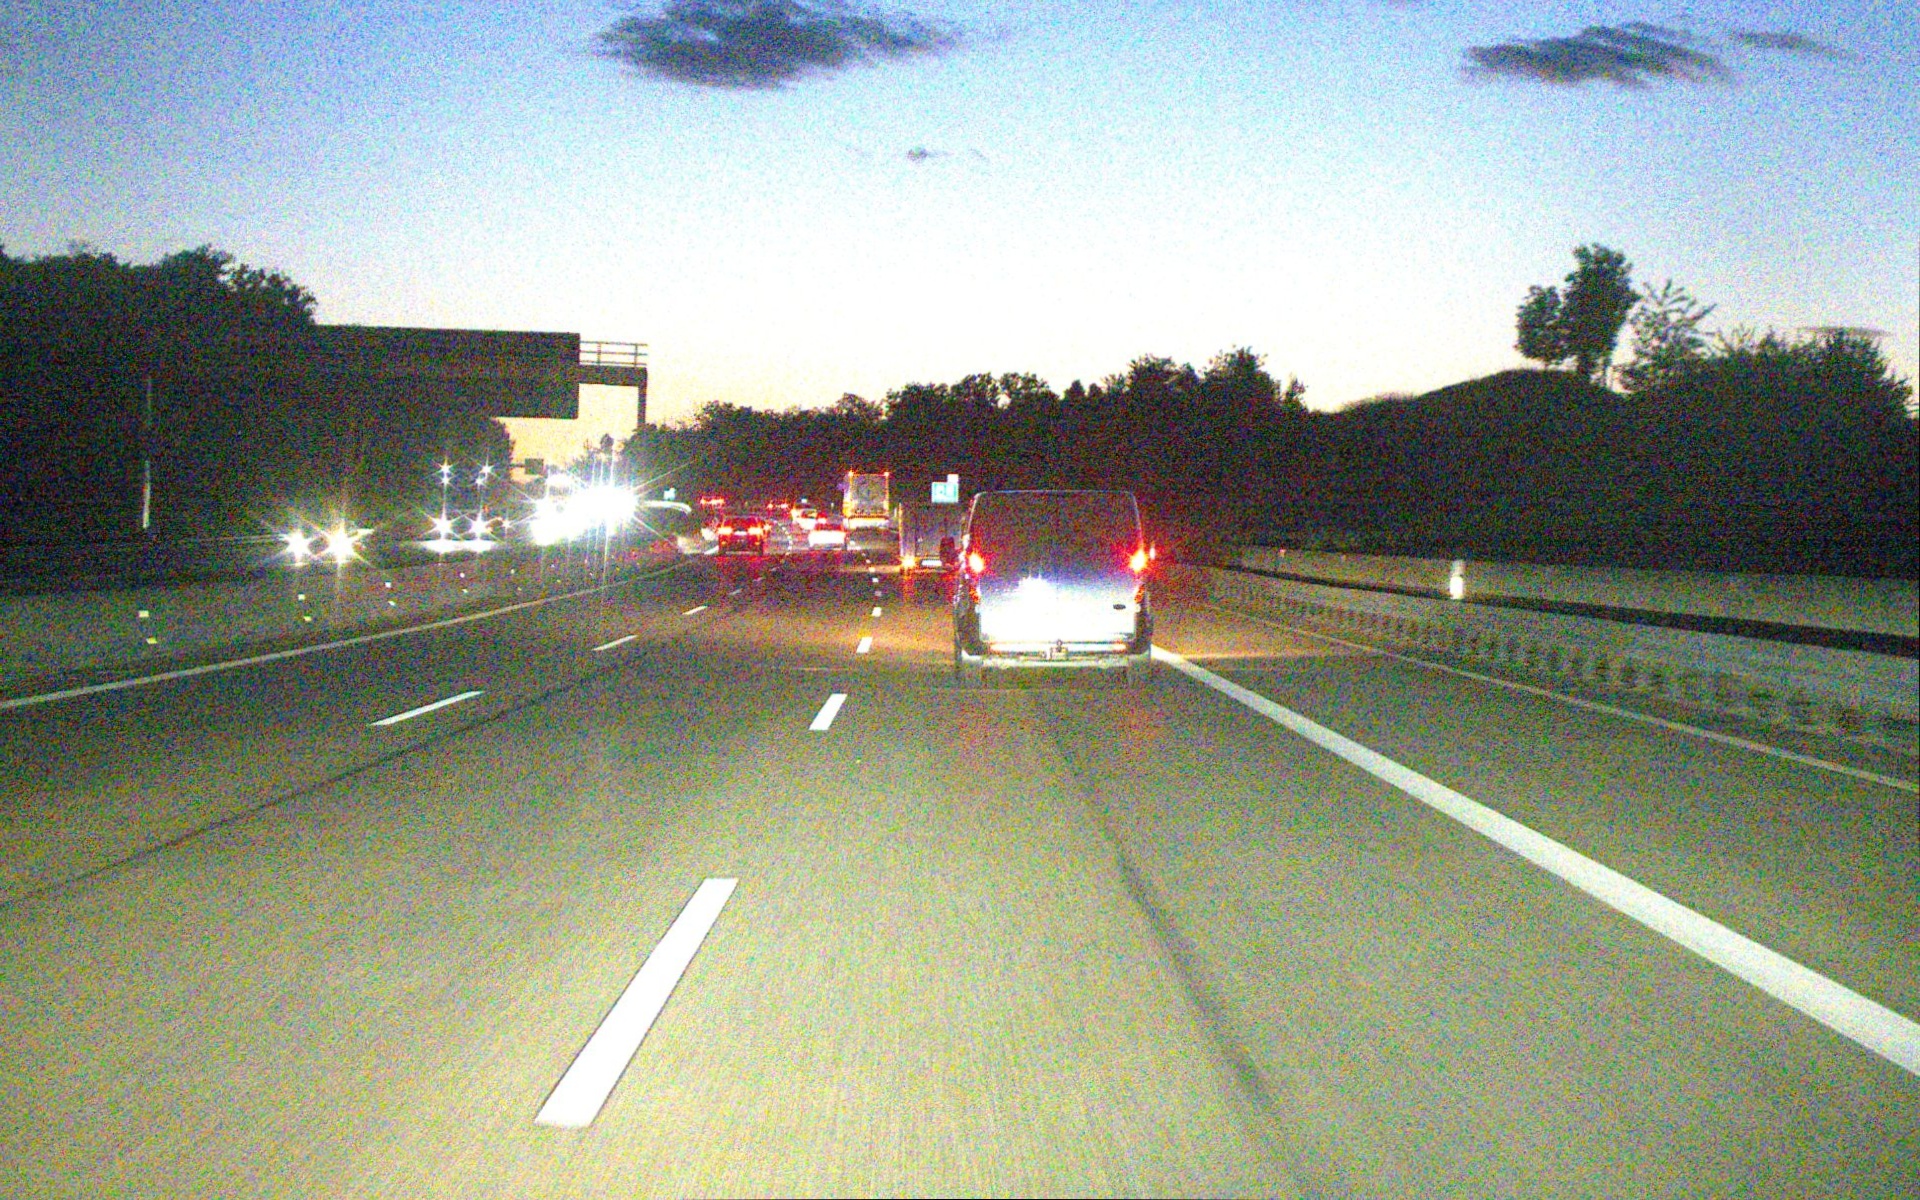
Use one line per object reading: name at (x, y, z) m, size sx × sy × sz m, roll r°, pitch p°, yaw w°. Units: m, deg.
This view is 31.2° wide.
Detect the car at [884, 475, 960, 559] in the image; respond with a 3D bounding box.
car at (-1.268, -2.709, 111.427) m, size 2.032 × 2.637 × 5.726 m, roll 0°, pitch 2°, yaw -5°

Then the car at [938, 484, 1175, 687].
car at (0.929, -0.220, 36.547) m, size 2.115 × 1.994 × 5.665 m, roll 0°, pitch 2°, yaw -2°

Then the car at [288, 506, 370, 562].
car at (-19.877, -2.075, 108.426) m, size 1.822 × 1.688 × 4.673 m, roll 0°, pitch 0°, yaw -1°

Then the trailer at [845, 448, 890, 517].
trailer at (-6.474, -8.084, 239.289) m, size 2.829 × 4.242 × 17.050 m, roll 0°, pitch 0°, yaw -2°

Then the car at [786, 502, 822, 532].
car at (-9.960, -5.272, 219.246) m, size 1.993 × 1.788 × 4.001 m, roll 0°, pitch 0°, yaw -6°

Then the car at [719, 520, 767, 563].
car at (-9.393, -2.513, 148.902) m, size 1.993 × 1.809 × 4.000 m, roll 0°, pitch 0°, yaw -3°

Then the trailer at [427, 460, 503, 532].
trailer at (-27.620, -5.790, 192.097) m, size 3.430 × 3.966 × 7.353 m, roll 0°, pitch 2°, yaw -2°

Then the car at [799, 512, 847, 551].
car at (-6.587, -3.264, 165.044) m, size 1.993 × 1.788 × 4.001 m, roll 0°, pitch 0°, yaw -7°
